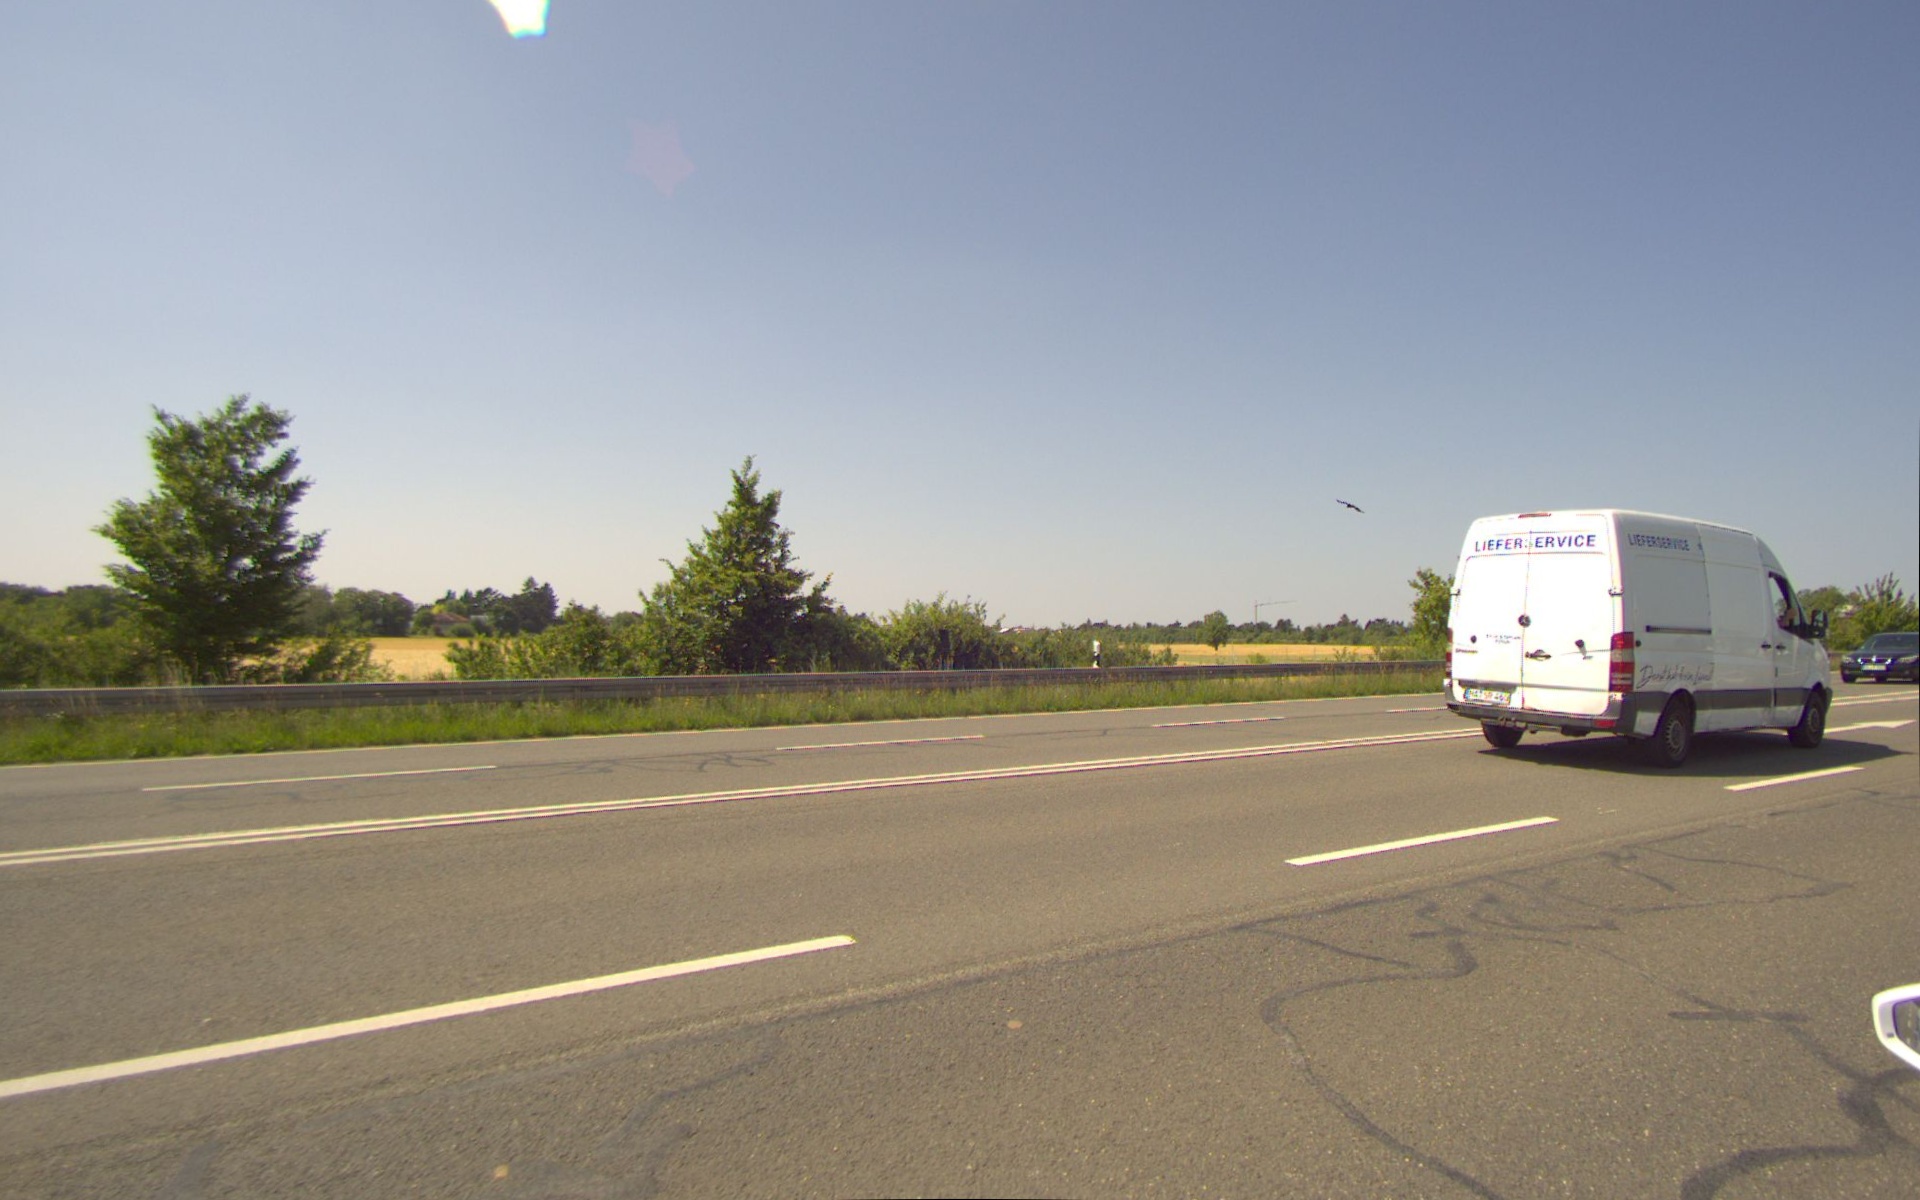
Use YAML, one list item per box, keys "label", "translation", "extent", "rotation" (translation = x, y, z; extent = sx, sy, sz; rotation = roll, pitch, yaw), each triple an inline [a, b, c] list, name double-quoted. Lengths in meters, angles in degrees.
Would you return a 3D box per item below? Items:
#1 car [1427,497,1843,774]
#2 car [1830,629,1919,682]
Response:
- label: "car"
  translation: [8.205, 0.385, 12.007]
  extent: [5.678, 2.655, 2.028]
  rotation: [1, 0, -32]
- label: "car"
  translation: [27.798, 1.661, 29.782]
  extent: [3.953, 1.442, 1.848]
  rotation: [3, -1, -30]
